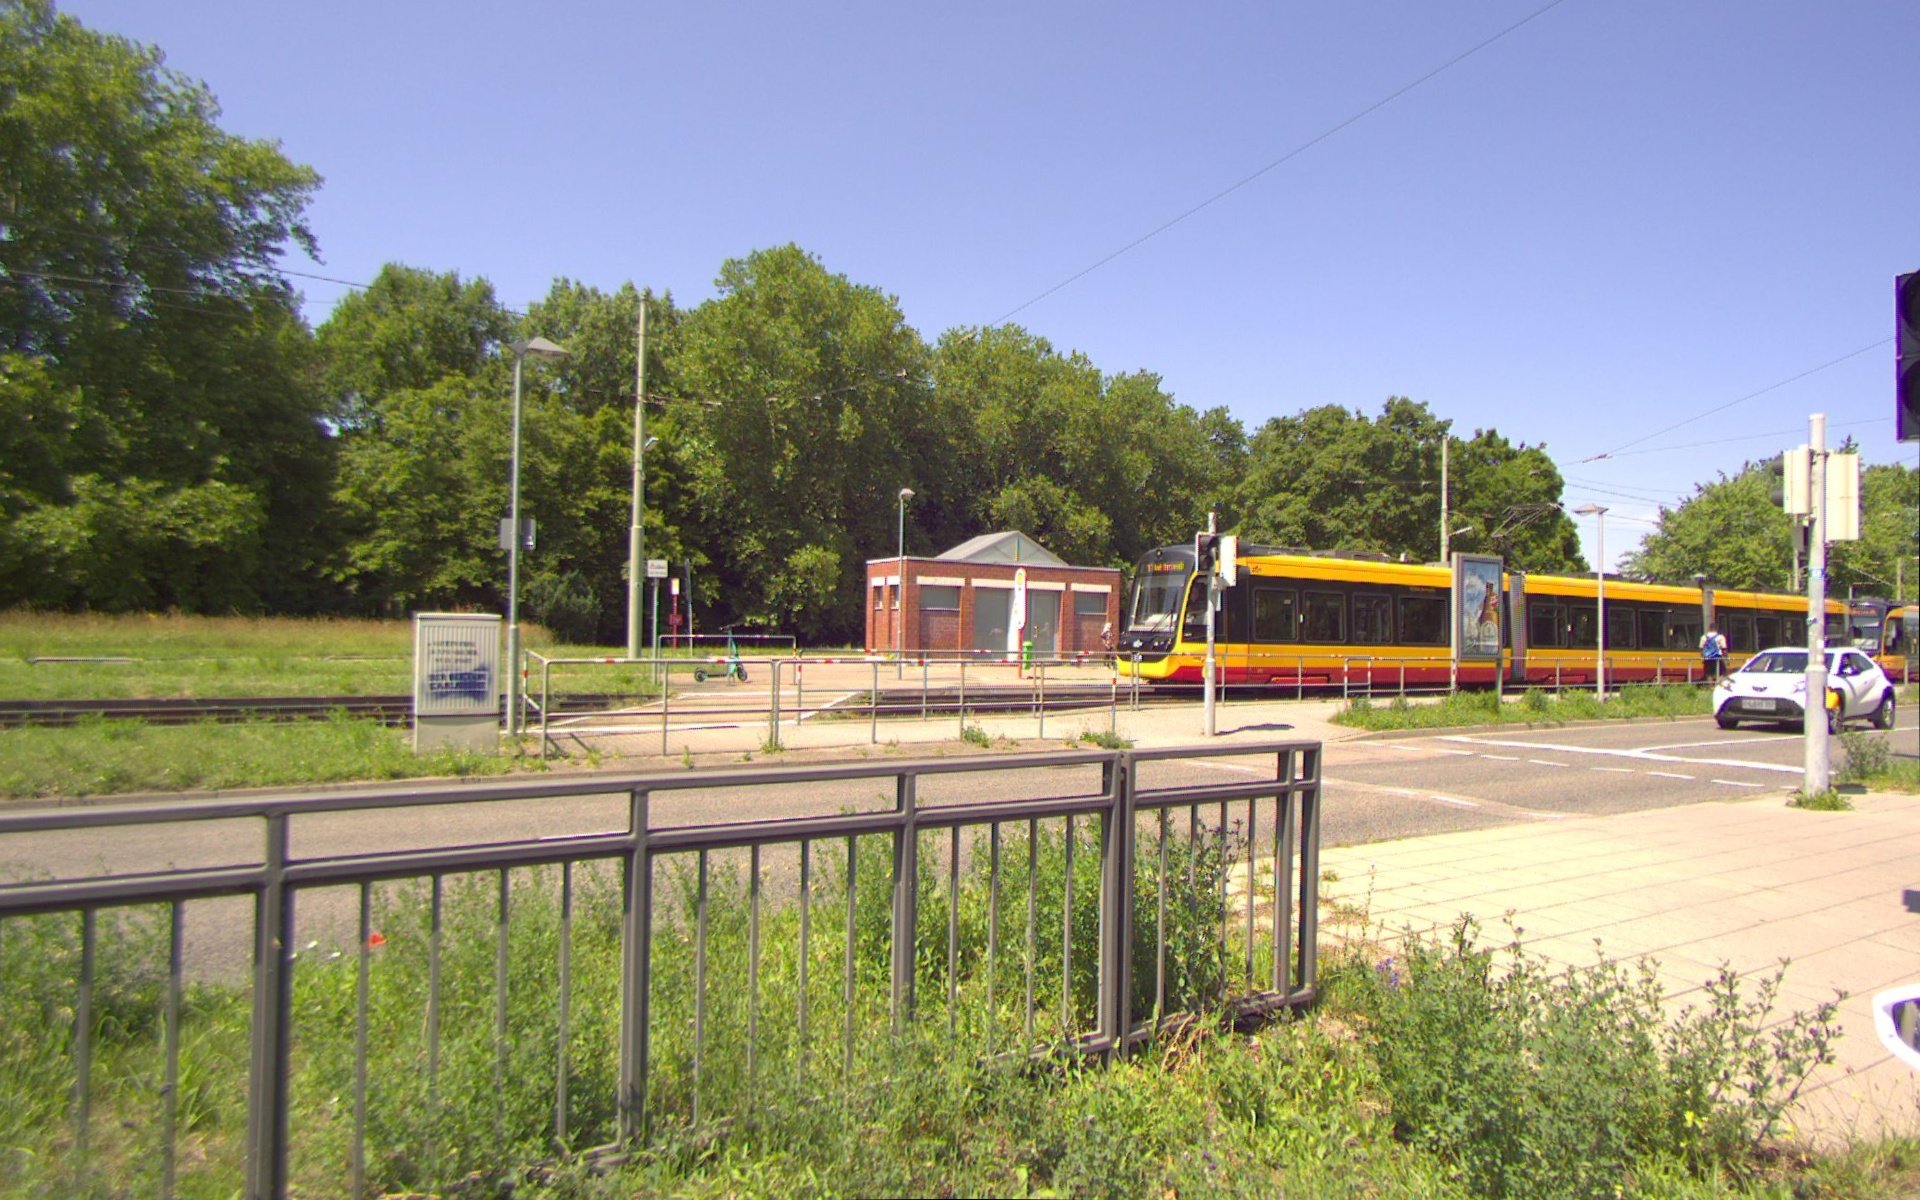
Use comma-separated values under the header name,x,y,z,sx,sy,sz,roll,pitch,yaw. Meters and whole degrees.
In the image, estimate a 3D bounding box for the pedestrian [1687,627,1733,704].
name,x,y,z,sx,sy,sz,roll,pitch,yaw
pedestrian,18.356,1.594,24.575,0.767,1.815,0.628,2,0,-31

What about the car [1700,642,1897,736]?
name,x,y,z,sx,sy,sz,roll,pitch,yaw
car,15.581,1.585,18.637,3.678,1.524,1.760,2,-1,-32

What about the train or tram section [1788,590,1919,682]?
name,x,y,z,sx,sy,sz,roll,pitch,yaw
train or tram section,42.076,1.633,45.314,13.743,3.672,3.027,2,0,-32

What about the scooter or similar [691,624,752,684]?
name,x,y,z,sx,sy,sz,roll,pitch,yaw
scooter or similar,-5.209,1.167,21.921,1.087,1.253,0.765,2,0,-30

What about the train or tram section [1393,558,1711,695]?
name,x,y,z,sx,sy,sz,roll,pitch,yaw
train or tram section,19.245,0.897,32.171,12.448,3.791,3.029,2,0,-30

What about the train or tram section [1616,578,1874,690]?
name,x,y,z,sx,sy,sz,roll,pitch,yaw
train or tram section,30.420,1.326,38.617,13.103,3.817,3.030,2,0,-30

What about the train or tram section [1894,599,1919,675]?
name,x,y,z,sx,sy,sz,roll,pitch,yaw
train or tram section,51.236,1.947,52.423,12.369,3.672,3.014,2,0,-44

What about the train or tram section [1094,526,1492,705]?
name,x,y,z,sx,sy,sz,roll,pitch,yaw
train or tram section,8.951,0.484,26.024,11.406,3.907,2.936,2,0,-30
